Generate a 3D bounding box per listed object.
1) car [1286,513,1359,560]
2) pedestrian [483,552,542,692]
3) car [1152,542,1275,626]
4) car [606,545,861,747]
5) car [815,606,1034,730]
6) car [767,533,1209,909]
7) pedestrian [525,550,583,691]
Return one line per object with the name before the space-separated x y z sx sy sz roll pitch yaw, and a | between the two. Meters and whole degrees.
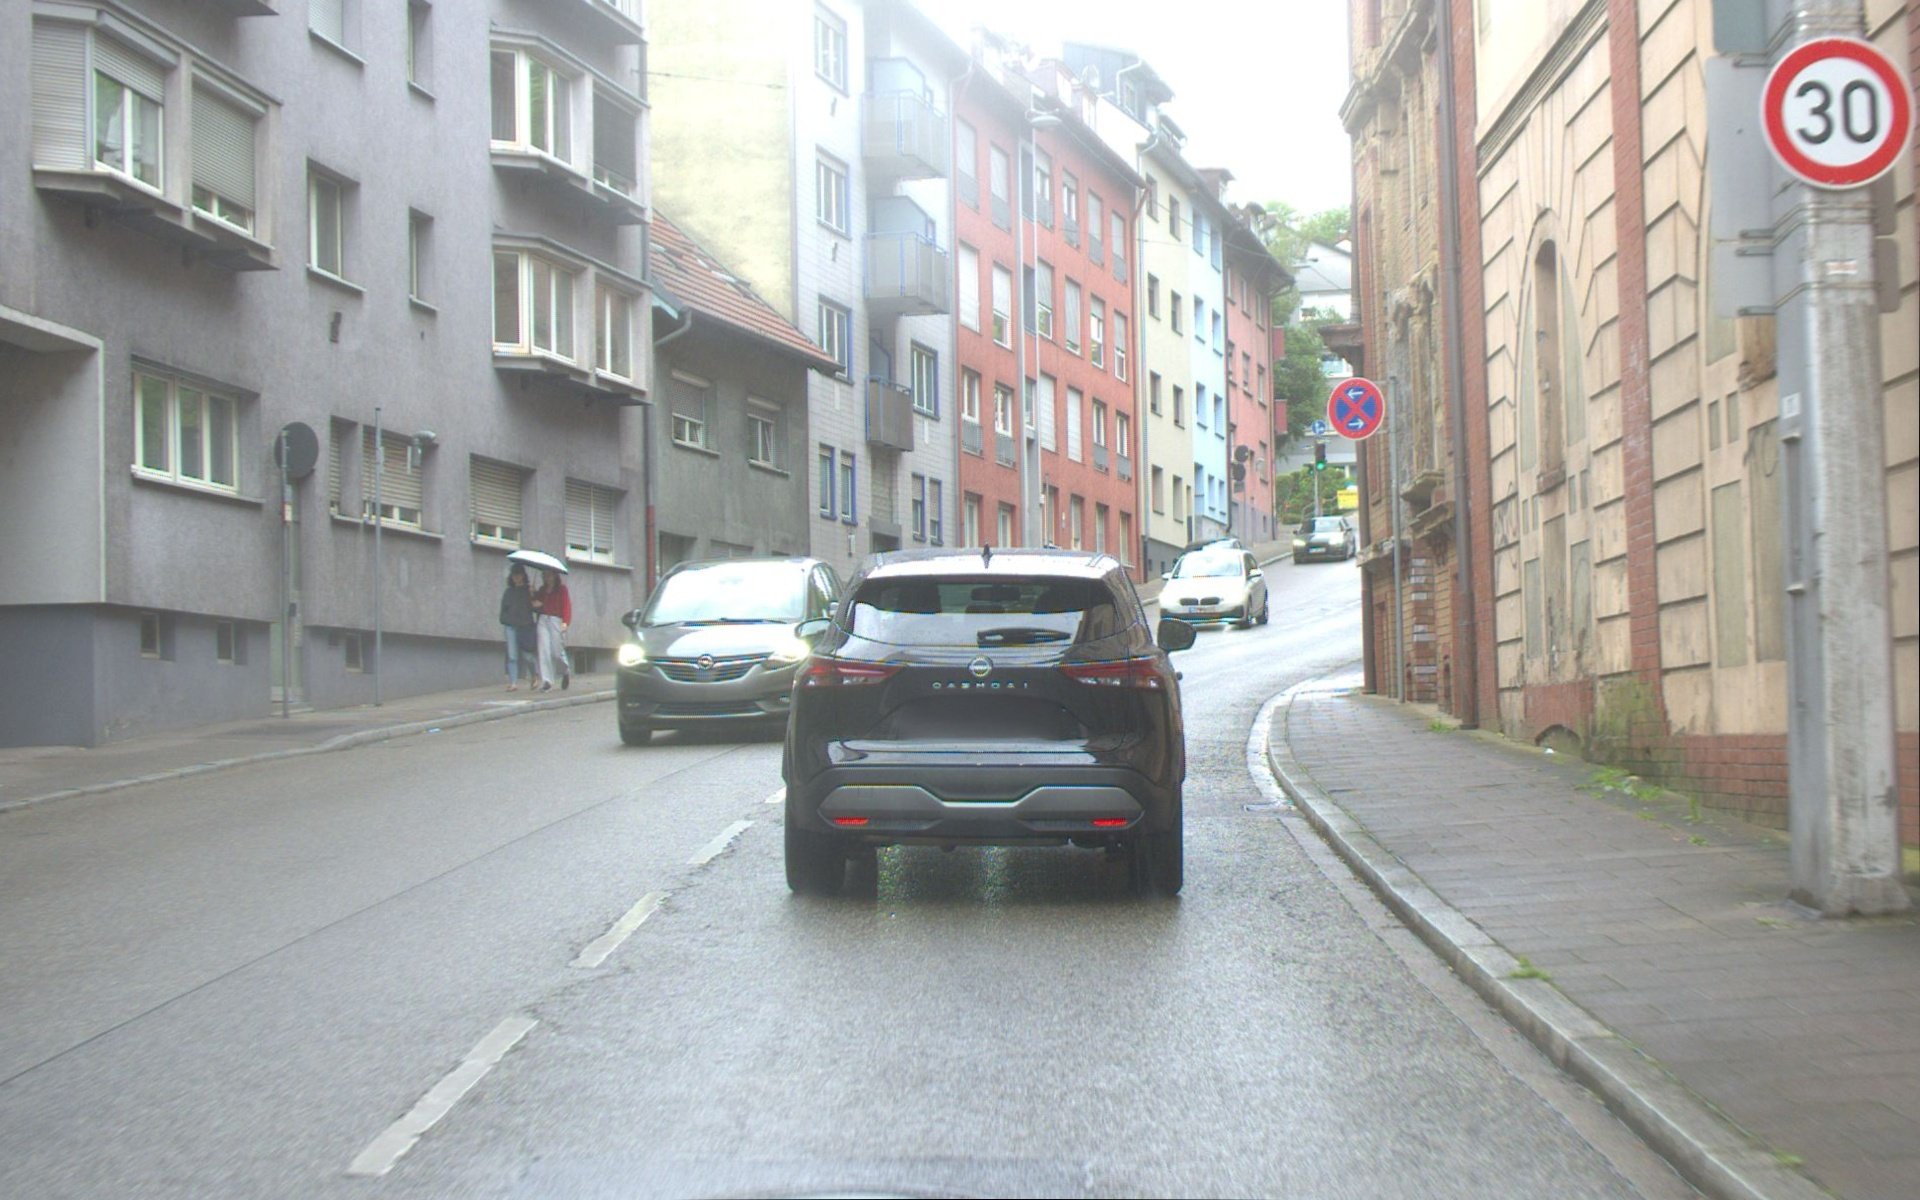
car | 11.594 -2.035 109.749 1.645 1.374 3.848 -3 1 16
pedestrian | -5.767 0.275 44.324 0.523 1.770 0.622 -3 1 7
car | 5.146 -0.336 69.368 1.765 1.571 4.034 -2 0 14
car | -1.977 0.372 31.096 1.764 1.652 3.987 -2 0 3
car | -0.412 0.887 45.208 1.795 1.505 3.997 -2 -1 16
car | 0.126 0.524 16.816 1.881 1.588 3.921 1 0 0
pedestrian | -5.229 0.255 44.256 0.523 1.770 0.622 -3 1 7
